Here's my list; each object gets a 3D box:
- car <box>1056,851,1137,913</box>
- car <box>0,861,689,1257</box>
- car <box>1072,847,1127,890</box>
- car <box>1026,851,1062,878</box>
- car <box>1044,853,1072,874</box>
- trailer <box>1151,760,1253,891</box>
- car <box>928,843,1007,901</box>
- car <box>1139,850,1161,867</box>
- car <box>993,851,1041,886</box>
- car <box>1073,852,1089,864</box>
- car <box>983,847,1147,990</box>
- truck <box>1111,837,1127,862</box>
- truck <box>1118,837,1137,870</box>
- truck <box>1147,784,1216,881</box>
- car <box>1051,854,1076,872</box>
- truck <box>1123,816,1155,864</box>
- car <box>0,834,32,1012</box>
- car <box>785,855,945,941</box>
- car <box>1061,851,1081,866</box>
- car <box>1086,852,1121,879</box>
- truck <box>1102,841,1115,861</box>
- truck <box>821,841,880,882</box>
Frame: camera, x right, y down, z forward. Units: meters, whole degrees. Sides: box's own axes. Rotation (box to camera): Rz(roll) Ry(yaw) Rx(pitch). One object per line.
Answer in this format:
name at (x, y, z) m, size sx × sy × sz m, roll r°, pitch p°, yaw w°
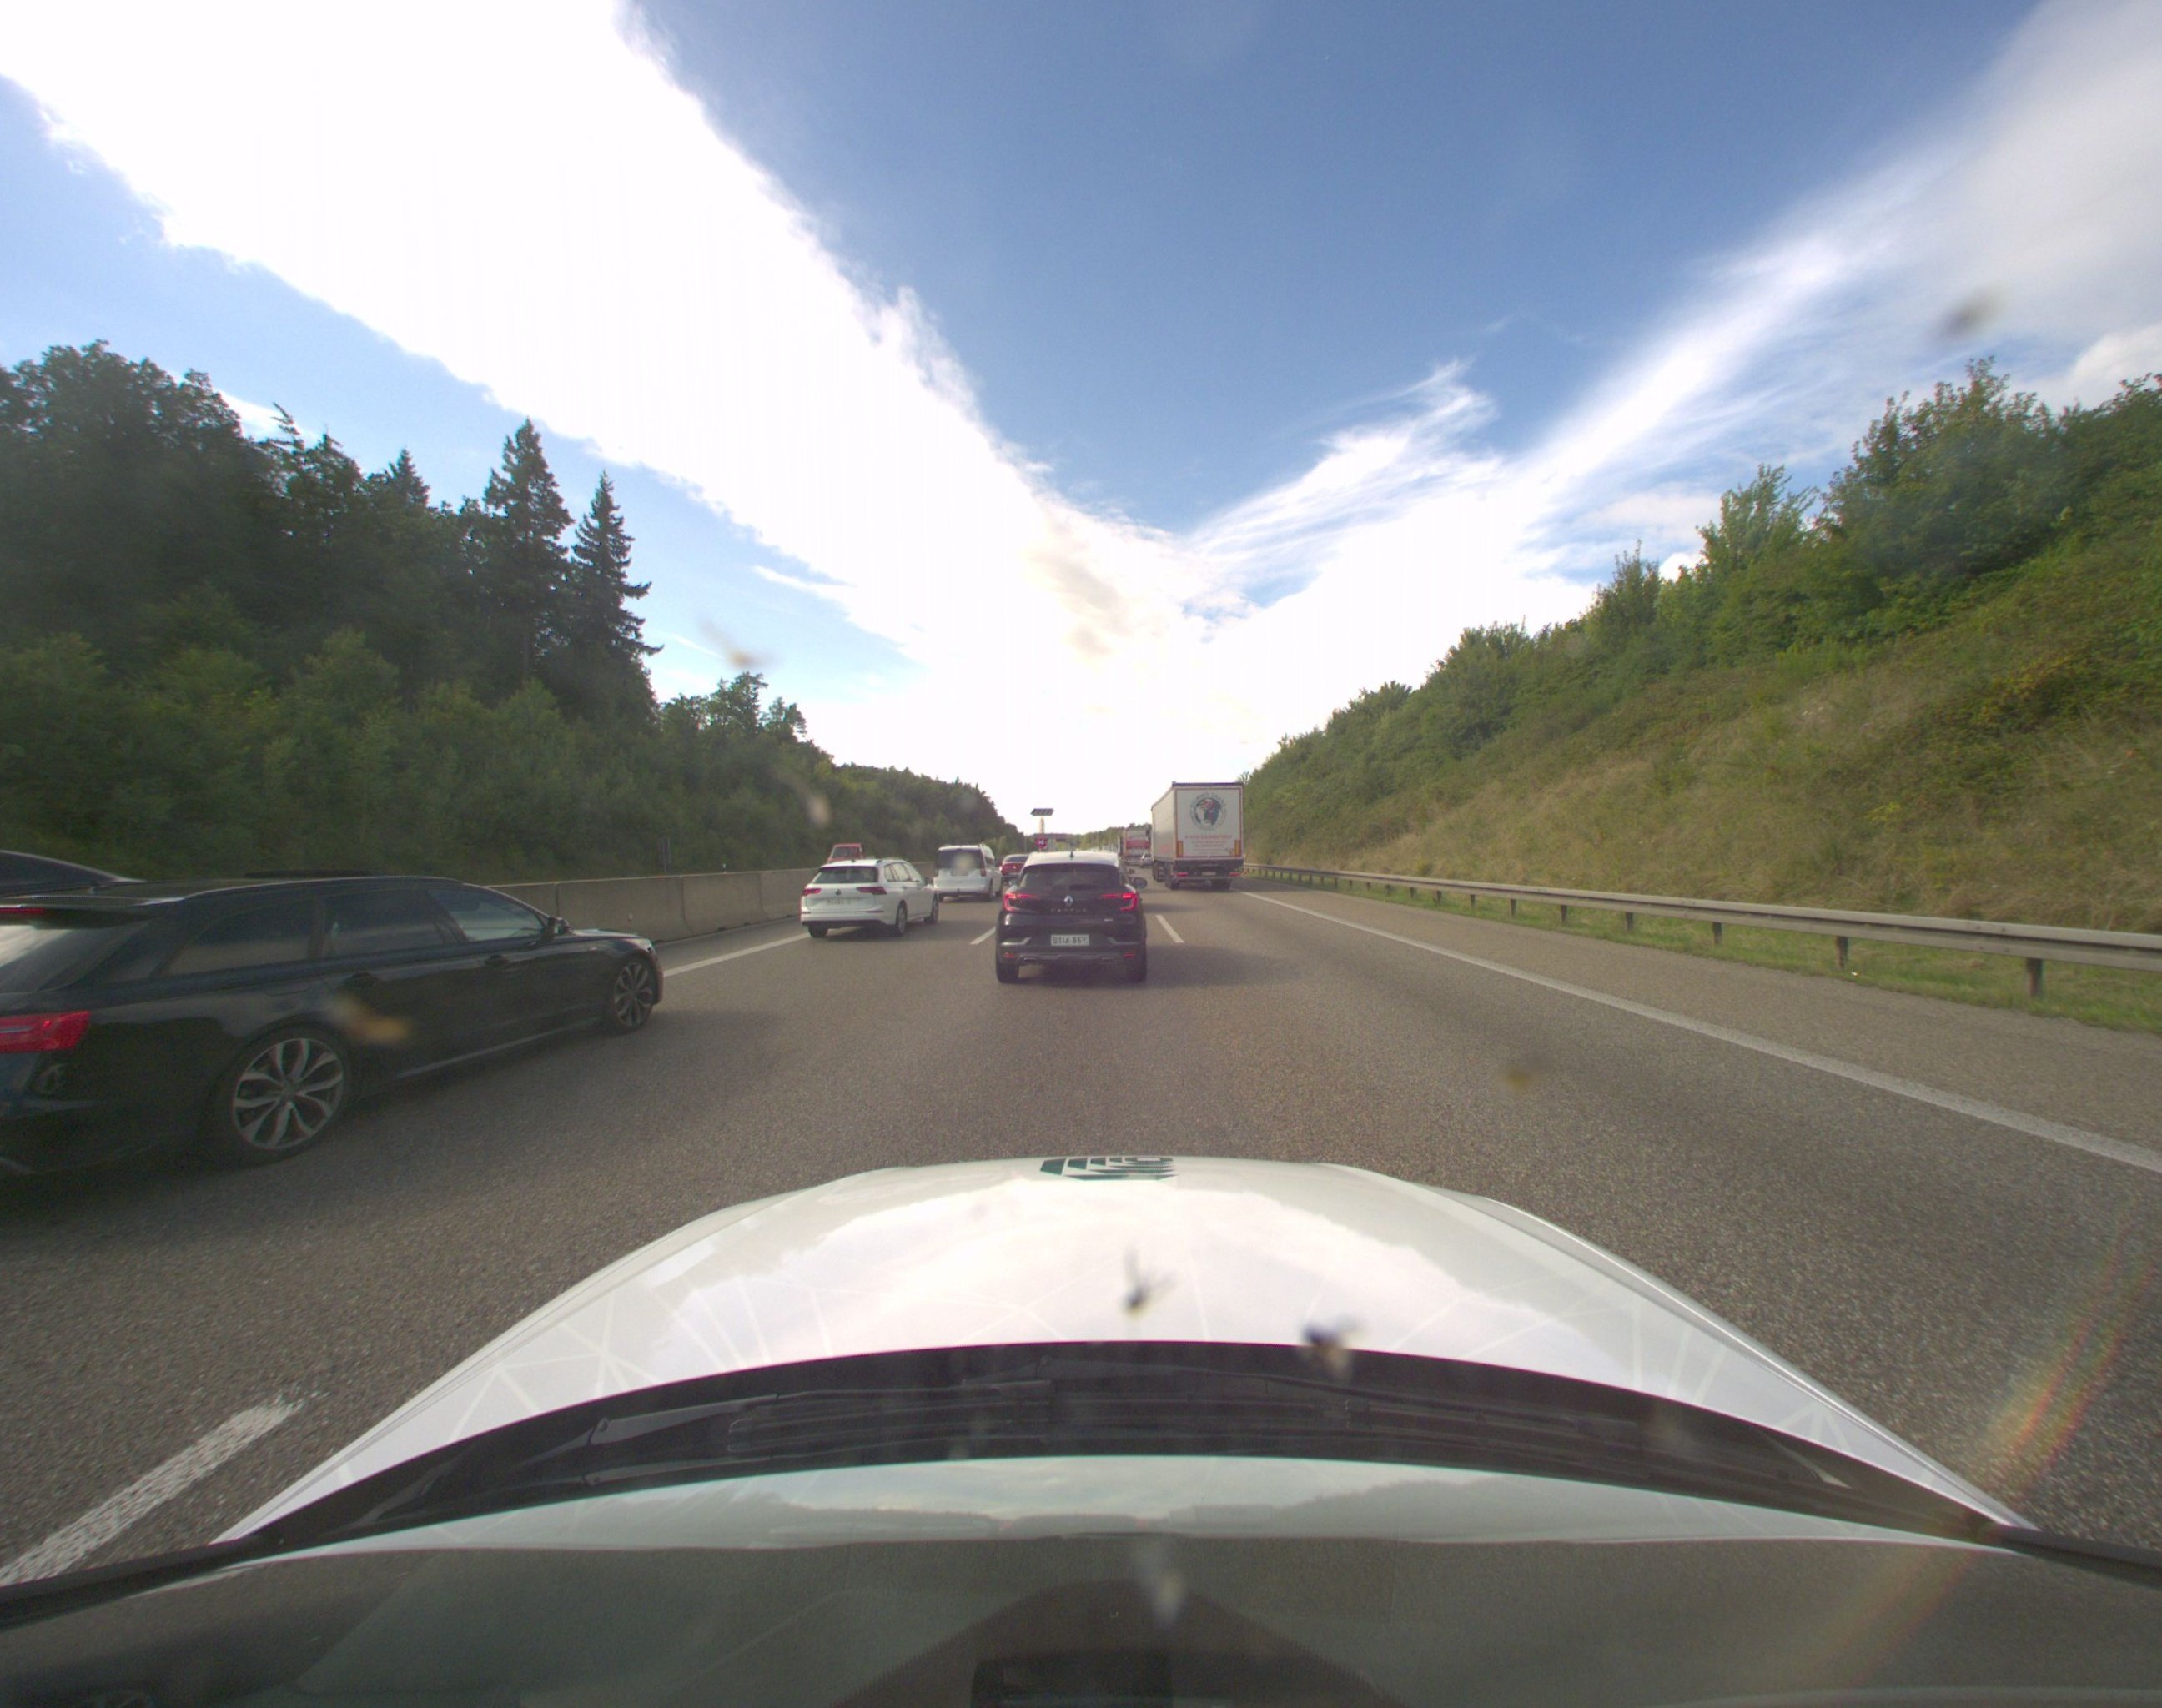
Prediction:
car at (0.471, 0.714, 22.138) m, size 1.985 × 1.514 × 4.003 m, roll 0°, pitch 0°, yaw 3°
car at (-4.814, 0.814, 5.515) m, size 1.835 × 1.456 × 4.751 m, roll 0°, pitch 0°, yaw 3°
car at (0.749, 0.540, 31.575) m, size 1.985 × 1.514 × 4.003 m, roll 0°, pitch 0°, yaw 3°
car at (-2.407, 0.667, 54.205) m, size 1.985 × 1.722 × 4.003 m, roll 0°, pitch 0°, yaw 3°
car at (-1.862, 0.744, 66.403) m, size 1.985 × 1.613 × 4.003 m, roll 0°, pitch 0°, yaw 3°
trailer at (4.892, -1.042, 35.769) m, size 2.990 × 4.661 × 13.297 m, roll -1°, pitch 0°, yaw 2°
car at (-3.705, 0.570, 27.320) m, size 1.905 × 1.789 × 4.418 m, roll 0°, pitch 0°, yaw 1°
car at (6.459, 0.396, 76.714) m, size 1.798 × 1.533 × 3.926 m, roll 0°, pitch 0°, yaw 1°
car at (-3.109, 0.686, 40.116) m, size 1.848 × 1.641 × 3.929 m, roll 0°, pitch 0°, yaw 3°
car at (-0.021, 0.539, 112.923) m, size 1.985 × 1.613 × 4.003 m, roll -1°, pitch 0°, yaw 3°
car at (-0.021, 0.721, 11.026) m, size 1.796 × 1.552 × 4.005 m, roll -1°, pitch 0°, yaw 4°
truck at (8.620, -0.899, 183.111) m, size 3.152 × 5.505 × 12.752 m, roll -1°, pitch 0°, yaw 4°
truck at (8.077, -0.110, 142.062) m, size 3.153 × 5.505 × 12.746 m, roll 0°, pitch 0°, yaw 3°
truck at (5.152, -1.059, 42.745) m, size 2.986 × 4.667 × 5.942 m, roll -1°, pitch 0°, yaw 2°
car at (-1.599, 0.792, 73.937) m, size 1.985 × 1.613 × 4.003 m, roll 0°, pitch 0°, yaw 3°
truck at (6.479, -1.444, 92.553) m, size 3.351 × 5.044 × 12.746 m, roll 0°, pitch 0°, yaw 3°
car at (-12.002, 0.714, 6.243) m, size 1.845 × 1.810 × 4.626 m, roll -1°, pitch 0°, yaw 2°
car at (-4.110, 0.777, 16.262) m, size 1.797 × 1.461 × 4.312 m, roll -1°, pitch 0°, yaw 3°
car at (-1.082, 0.495, 88.910) m, size 1.985 × 1.613 × 4.003 m, roll -1°, pitch 0°, yaw 3°
car at (1.357, 0.645, 48.139) m, size 1.985 × 1.514 × 4.003 m, roll 0°, pitch 0°, yaw 3°
truck at (7.303, -0.664, 216.886) m, size 3.153 × 5.159 × 12.746 m, roll 0°, pitch 0°, yaw 3°
truck at (-17.115, 0.523, 60.887) m, size 2.413 × 2.855 × 6.433 m, roll -1°, pitch 0°, yaw 2°
